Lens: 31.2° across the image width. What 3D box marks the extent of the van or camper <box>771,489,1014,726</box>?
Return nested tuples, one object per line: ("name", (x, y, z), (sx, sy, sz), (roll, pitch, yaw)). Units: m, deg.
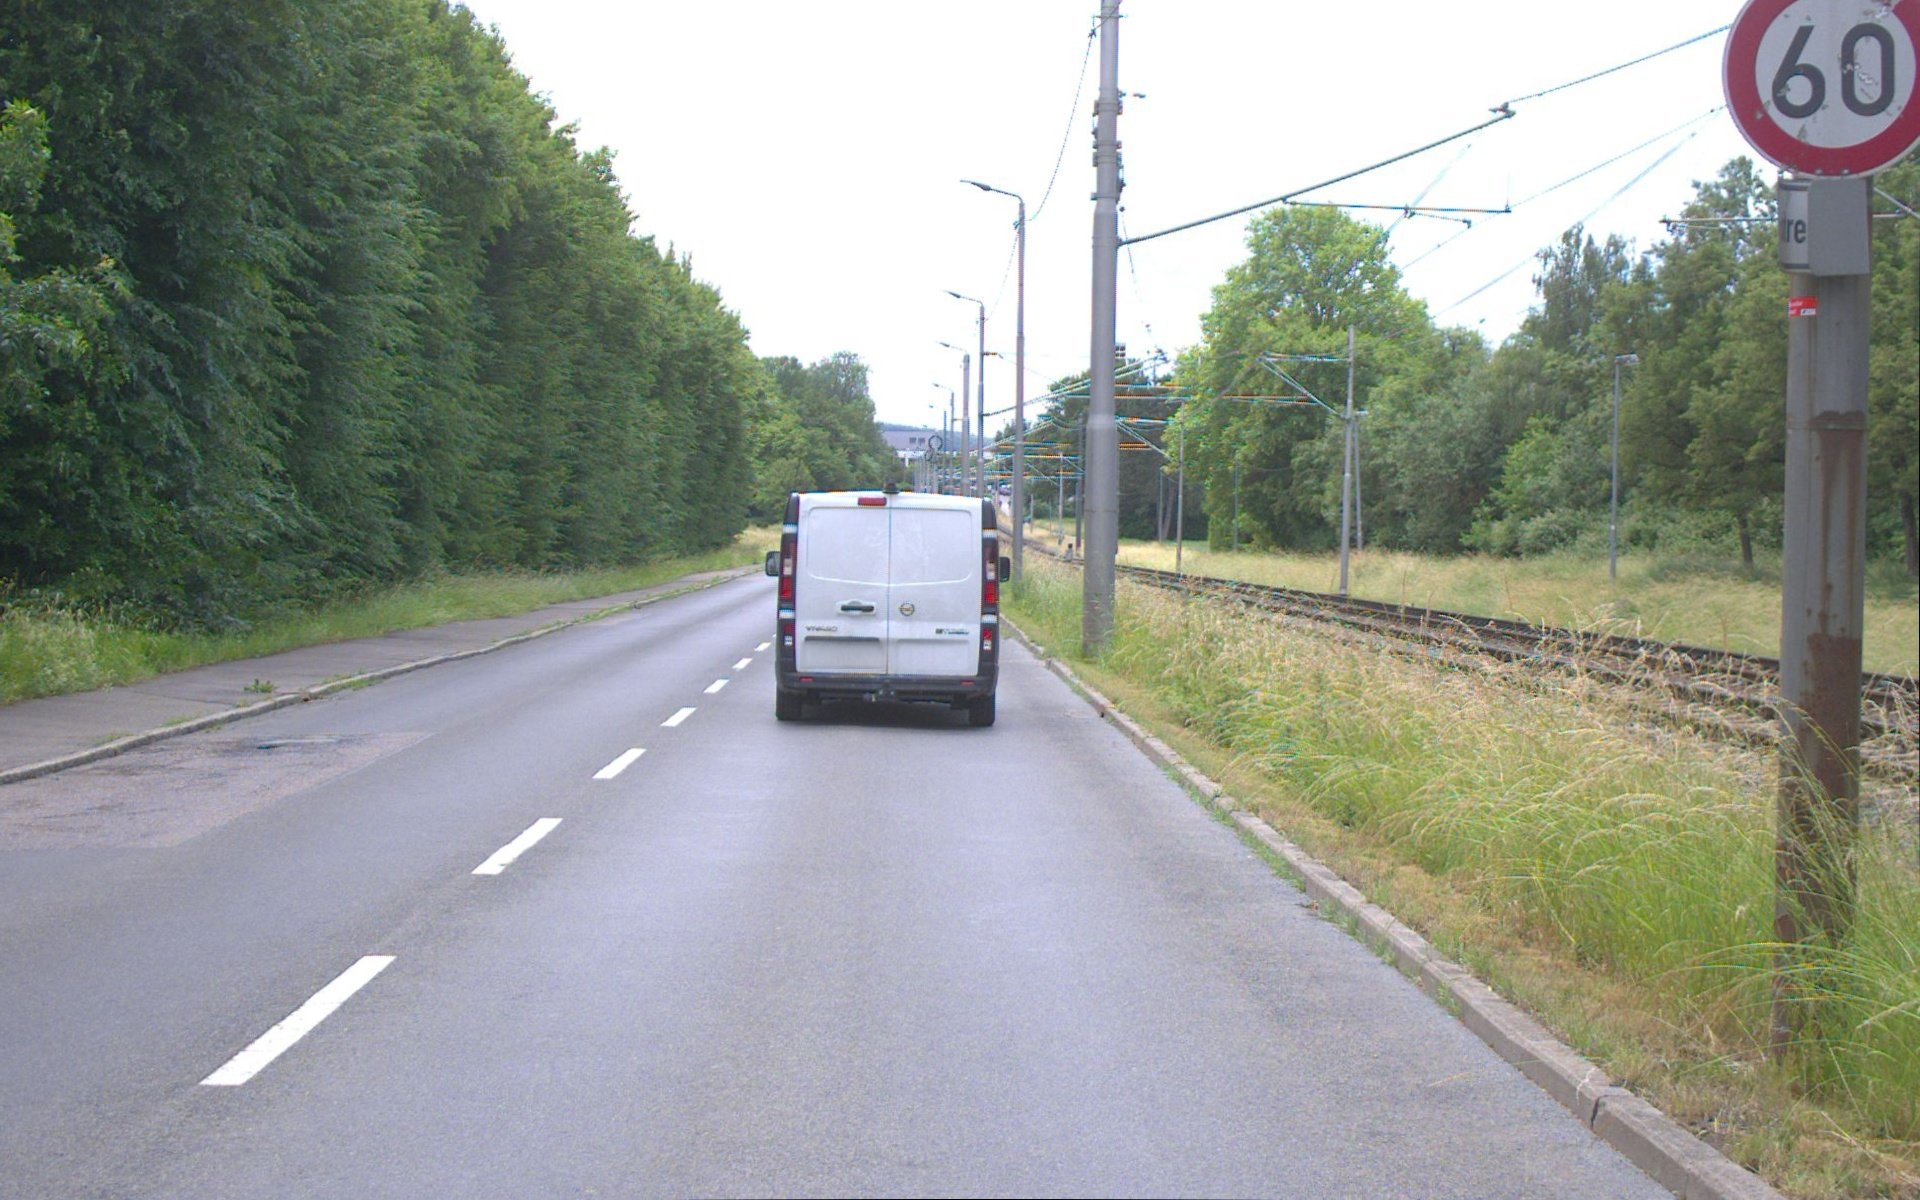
("van or camper", (-0.587, 0.030, 30.028), (1.942, 1.890, 4.285), (1, 1, -1))
